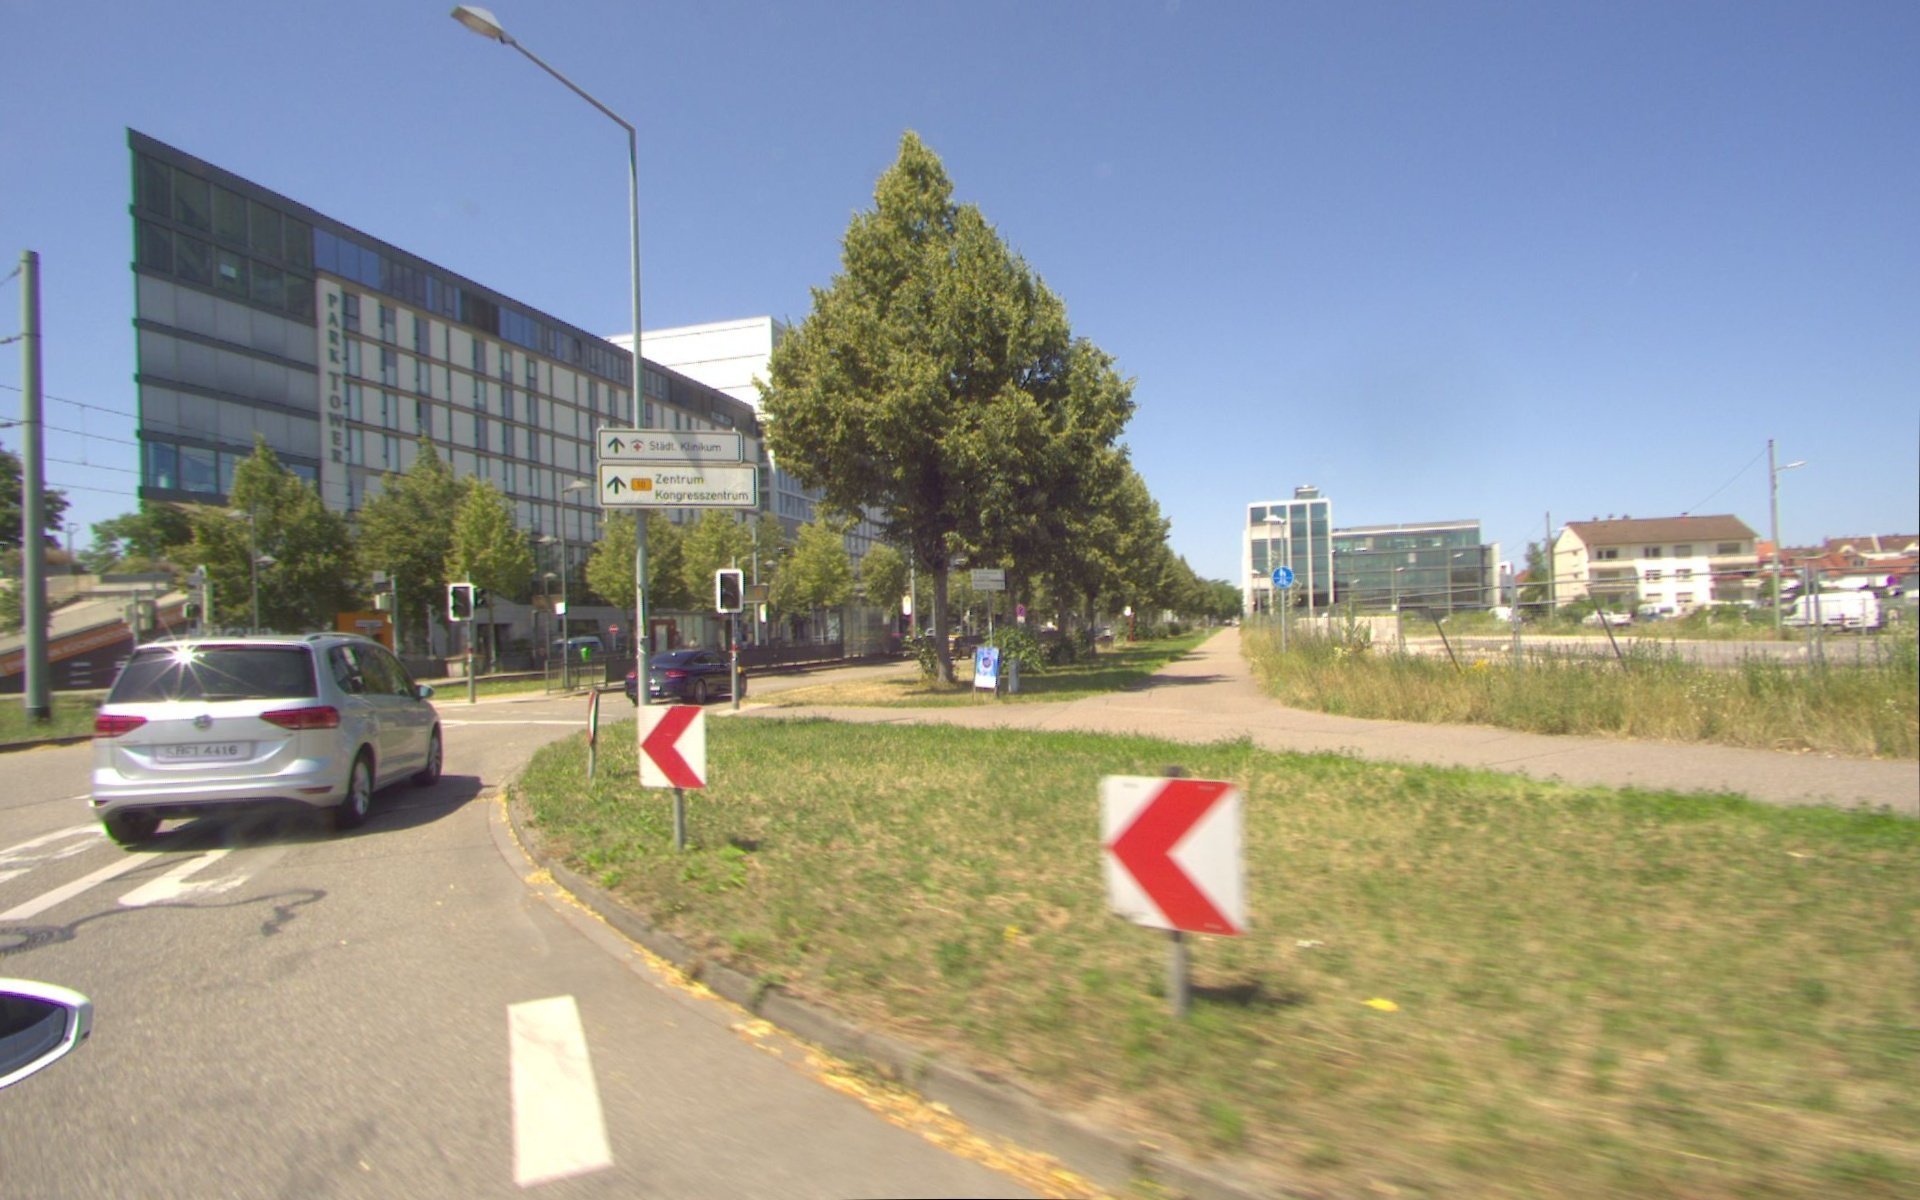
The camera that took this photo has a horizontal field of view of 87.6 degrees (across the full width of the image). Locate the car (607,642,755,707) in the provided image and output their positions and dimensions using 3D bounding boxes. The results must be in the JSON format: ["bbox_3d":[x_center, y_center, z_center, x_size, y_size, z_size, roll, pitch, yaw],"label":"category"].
[{"bbox_3d":[-7.160,1.881,26.293,1.822,1.455,4.955,-2,-2,9],"label":"car"}]

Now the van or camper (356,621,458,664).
[{"bbox_3d":[-38.836,3.016,70.654,2.339,2.857,6.784,-1,-2,14],"label":"van or camper"}]

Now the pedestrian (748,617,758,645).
[{"bbox_3d":[-13.477,2.023,65.128,0.403,1.774,0.585,-1,-1,13],"label":"pedestrian"}]

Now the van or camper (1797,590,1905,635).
[{"bbox_3d":[55.063,0.846,62.130,1.894,2.635,6.998,-1,-2,14],"label":"van or camper"}]

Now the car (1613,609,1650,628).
[{"bbox_3d":[62.339,1.741,93.013,1.649,1.605,3.622,-3,-3,13],"label":"car"}]

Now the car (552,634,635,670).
[{"bbox_3d":[-23.100,3.233,63.348,1.964,2.132,5.536,-2,-2,17],"label":"car"}]

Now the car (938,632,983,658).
[{"bbox_3d":[0.068,2.717,60.084,1.595,1.469,3.983,-2,-3,17],"label":"car"}]

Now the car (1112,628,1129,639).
[{"bbox_3d":[21.977,4.573,136.784,1.823,1.466,4.349,-2,-3,15],"label":"car"}]

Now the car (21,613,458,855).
[{"bbox_3d":[-6.217,1.034,9.395,1.774,1.669,4.600,0,-2,-15],"label":"car"}]
